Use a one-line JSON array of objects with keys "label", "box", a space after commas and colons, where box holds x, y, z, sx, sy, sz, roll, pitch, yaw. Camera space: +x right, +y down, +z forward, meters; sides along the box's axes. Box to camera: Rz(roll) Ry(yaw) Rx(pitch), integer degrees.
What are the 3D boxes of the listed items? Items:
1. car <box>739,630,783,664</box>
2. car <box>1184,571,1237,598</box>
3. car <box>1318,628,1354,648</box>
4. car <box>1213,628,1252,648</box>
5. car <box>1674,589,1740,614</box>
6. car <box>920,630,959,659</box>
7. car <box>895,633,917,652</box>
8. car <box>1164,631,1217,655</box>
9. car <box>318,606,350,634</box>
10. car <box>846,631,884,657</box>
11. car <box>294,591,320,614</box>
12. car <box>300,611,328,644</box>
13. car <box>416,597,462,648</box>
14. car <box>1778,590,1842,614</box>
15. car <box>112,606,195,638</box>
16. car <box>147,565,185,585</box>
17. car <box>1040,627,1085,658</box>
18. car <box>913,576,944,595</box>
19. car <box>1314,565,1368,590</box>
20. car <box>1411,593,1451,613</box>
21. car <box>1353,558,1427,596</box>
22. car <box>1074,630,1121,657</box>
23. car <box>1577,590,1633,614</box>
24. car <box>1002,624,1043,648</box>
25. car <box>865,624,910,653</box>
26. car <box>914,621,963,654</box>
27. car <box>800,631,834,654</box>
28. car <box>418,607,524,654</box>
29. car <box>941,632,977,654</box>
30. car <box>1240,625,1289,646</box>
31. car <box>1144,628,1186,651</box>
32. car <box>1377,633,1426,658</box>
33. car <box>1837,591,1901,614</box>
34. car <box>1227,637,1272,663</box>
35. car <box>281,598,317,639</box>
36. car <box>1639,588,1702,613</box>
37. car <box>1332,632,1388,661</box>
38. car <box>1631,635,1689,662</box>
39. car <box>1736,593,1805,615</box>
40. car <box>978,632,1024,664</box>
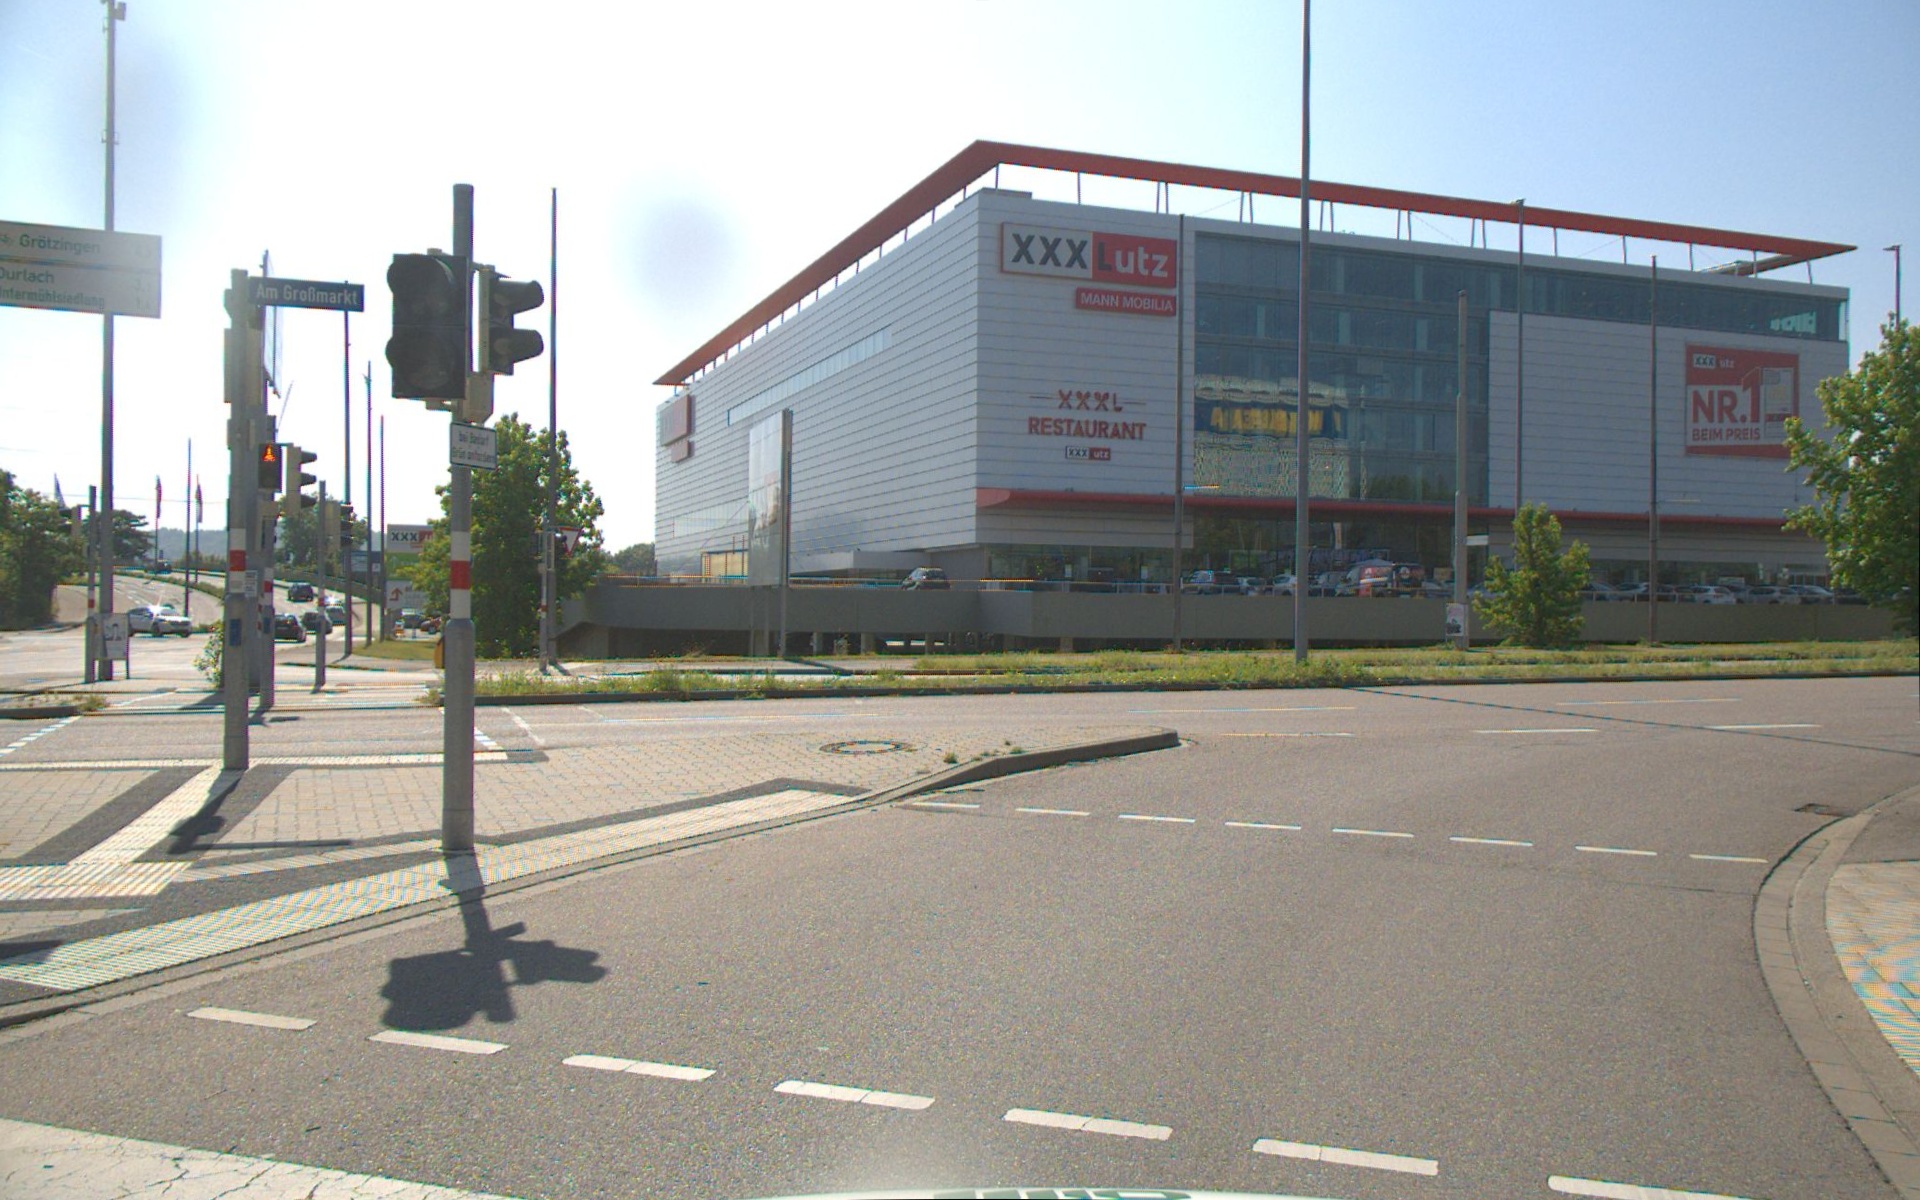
[{"label": "car", "box": [-6.256, 1.466, 51.899, 0.875, 0.992, 1.929, 1, 0, -23]}, {"label": "car", "box": [13.162, -0.813, 86.967, 1.489, 1.353, 3.001, 1, 0, -22]}, {"label": "car", "box": [19.825, 1.989, 87.262, 0.906, 0.992, 1.929, 1, 0, -23]}, {"label": "car", "box": [13.759, 1.915, 83.539, 1.053, 0.992, 1.929, 1, 0, -23]}, {"label": "car", "box": [41.923, 0.089, 92.901, 1.674, 1.353, 3.077, 1, 0, -22]}, {"label": "car", "box": [-0.761, 1.627, 60.997, 0.871, 0.992, 1.932, 1, 0, -20]}, {"label": "car", "box": [-2.846, 2.217, 87.000, 0.743, 0.944, 1.280, 1, 0, -23]}, {"label": "car", "box": [7.995, 1.493, 57.529, 0.892, 0.746, 2.073, 1, 0, -23]}, {"label": "car", "box": [-47.139, 1.502, 124.571, 2.156, 2.049, 3.976, 1, 0, -21]}, {"label": "car", "box": [-4.022, 1.862, 69.914, 1.053, 1.058, 1.929, 0, 0, -23]}, {"label": "car", "box": [-61.792, 0.243, 156.529, 2.156, 2.049, 3.976, 1, 0, -21]}, {"label": "car", "box": [-41.109, 1.750, 105.301, 1.556, 2.049, 3.976, 0, 0, -20]}, {"label": "car", "box": [-24.740, 1.065, 78.675, 1.962, 2.336, 4.013, 1, 0, -17]}, {"label": "car", "box": [49.020, 0.114, 95.411, 1.489, 1.353, 3.077, 1, 0, -22]}, {"label": "car", "box": [-43.089, 1.171, 88.458, 3.938, 1.650, 2.005, 0, 0, -26]}, {"label": "car", "box": [-94.614, -2.949, 197.132, 3.739, 2.276, 1.864, 2, -1, -17]}, {"label": "car", "box": [3.127, 1.298, 50.388, 0.779, 0.898, 1.495, 1, 0, -23]}, {"label": "car", "box": [-1.738, -0.789, 91.581, 1.053, 0.992, 1.929, 1, 0, -23]}, {"label": "car", "box": [21.374, -1.259, 92.929, 1.489, 1.353, 3.077, 1, 0, -22]}, {"label": "car", "box": [24.189, 0.141, 84.976, 1.053, 0.992, 1.929, 0, 0, -23]}, {"label": "car", "box": [18.640, -0.975, 71.800, 1.748, 1.584, 2.751, -1, 0, -27]}, {"label": "car", "box": [5.395, 1.692, 64.836, 1.053, 0.992, 1.929, 1, 0, -23]}, {"label": "car", "box": [37.799, 0.102, 96.931, 1.279, 1.353, 3.124, 1, 0, -22]}, {"label": "car", "box": [2.720, 1.555, 72.368, 1.053, 0.992, 1.929, 1, 0, -23]}, {"label": "car", "box": [-2.657, 1.387, 60.145, 1.053, 0.992, 1.930, 0, 0, -22]}, {"label": "car", "box": [-0.715, 1.215, 54.198, 1.052, 1.026, 1.932, 0, 0, -19]}, {"label": "car", "box": [-6.672, 1.976, 77.082, 0.916, 0.992, 1.927, 1, 0, -26]}, {"label": "car", "box": [-19.450, 1.211, 65.740, 3.927, 1.764, 1.989, 1, 0, -20]}, {"label": "car", "box": [-0.066, 2.053, 79.630, 1.053, 0.992, 1.929, 1, 0, -23]}, {"label": "car", "box": [9.743, 1.123, 52.997, 0.844, 0.631, 1.553, 1, 0, -23]}, {"label": "car", "box": [9.296, 1.780, 74.967, 1.053, 0.992, 1.929, 1, 0, -23]}, {"label": "car", "box": [18.643, 1.919, 69.937, 1.053, 0.992, 1.929, 1, 0, -23]}, {"label": "car", "box": [53.060, 0.149, 96.554, 1.489, 1.316, 3.078, 1, 0, -21]}, {"label": "car", "box": [11.846, 2.052, 67.769, 0.895, 0.992, 1.929, 1, 0, -23]}, {"label": "car", "box": [-33.999, 0.915, 85.091, 1.607, 2.049, 3.976, 0, 0, -20]}, {"label": "car", "box": [39.495, 0.041, 91.994, 1.489, 1.353, 3.077, 1, 0, -22]}, {"label": "car", "box": [14.495, 1.695, 60.018, 1.053, 0.992, 1.929, 1, 0, -23]}, {"label": "car", "box": [27.537, 1.905, 65.126, 1.053, 0.992, 1.929, 1, 0, -23]}, {"label": "car", "box": [46.252, 0.234, 94.460, 1.455, 1.220, 3.487, 1, 0, -22]}, {"label": "car", "box": [1.359, 1.581, 54.918, 0.852, 0.992, 1.835, 1, 0, -23]}]
